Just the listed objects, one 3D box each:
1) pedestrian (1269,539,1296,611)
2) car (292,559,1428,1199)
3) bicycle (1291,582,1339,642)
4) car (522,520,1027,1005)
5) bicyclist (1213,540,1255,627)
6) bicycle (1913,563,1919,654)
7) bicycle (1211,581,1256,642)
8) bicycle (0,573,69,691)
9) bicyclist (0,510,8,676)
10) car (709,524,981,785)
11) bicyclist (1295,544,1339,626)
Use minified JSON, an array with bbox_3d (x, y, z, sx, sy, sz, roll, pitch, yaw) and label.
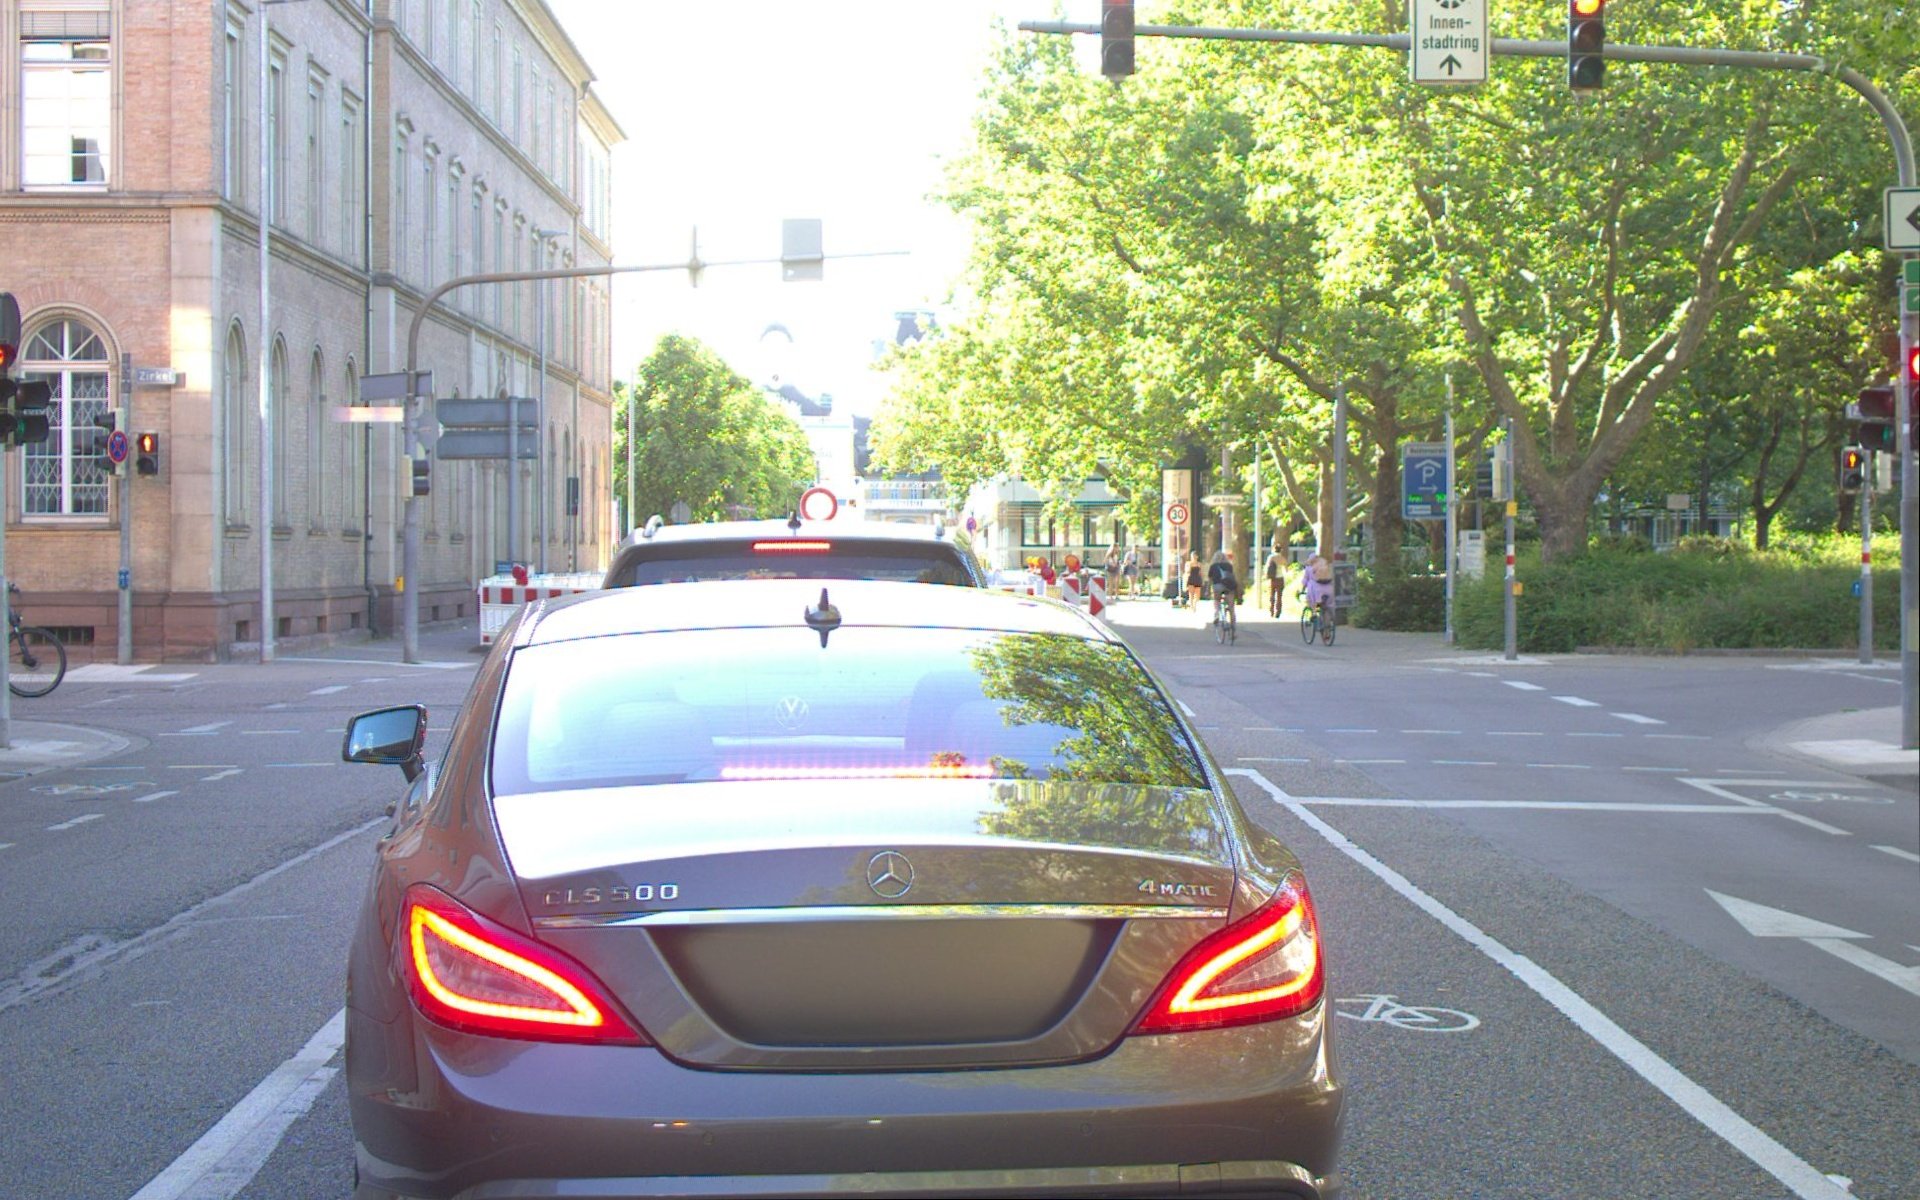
[{"bbox_3d":[7.599,-0.588,80.983,0.559,1.672,0.565,0,1,-1],"label":"pedestrian"},{"bbox_3d":[-0.425,0.654,7.657,1.821,1.471,4.354,0,1,-7],"label":"car"},{"bbox_3d":[6.187,0.201,59.975,0.600,0.981,1.881,2,1,-1],"label":"bicycle"},{"bbox_3d":[-0.685,0.518,13.409,1.681,1.619,3.841,0,1,-2],"label":"car"},{"bbox_3d":[4.813,-0.298,60.484,0.610,1.511,0.890,2,1,-1],"label":"bicyclist"},{"bbox_3d":[13.466,0.119,44.468,1.996,1.181,0.886,0,1,-10],"label":"bicycle"},{"bbox_3d":[4.813,0.192,60.577,0.610,1.023,1.731,2,1,-1],"label":"bicycle"},{"bbox_3d":[-10.210,0.319,35.231,1.997,1.181,0.589,0,1,1],"label":"bicycle"},{"bbox_3d":[-10.235,-0.077,35.229,0.796,1.702,0.589,0,1,1],"label":"bicyclist"},{"bbox_3d":[-0.781,0.311,23.276,1.681,1.619,3.841,0,1,-2],"label":"car"},{"bbox_3d":[6.209,-0.271,59.779,0.600,1.397,0.931,2,1,-1],"label":"bicyclist"}]
